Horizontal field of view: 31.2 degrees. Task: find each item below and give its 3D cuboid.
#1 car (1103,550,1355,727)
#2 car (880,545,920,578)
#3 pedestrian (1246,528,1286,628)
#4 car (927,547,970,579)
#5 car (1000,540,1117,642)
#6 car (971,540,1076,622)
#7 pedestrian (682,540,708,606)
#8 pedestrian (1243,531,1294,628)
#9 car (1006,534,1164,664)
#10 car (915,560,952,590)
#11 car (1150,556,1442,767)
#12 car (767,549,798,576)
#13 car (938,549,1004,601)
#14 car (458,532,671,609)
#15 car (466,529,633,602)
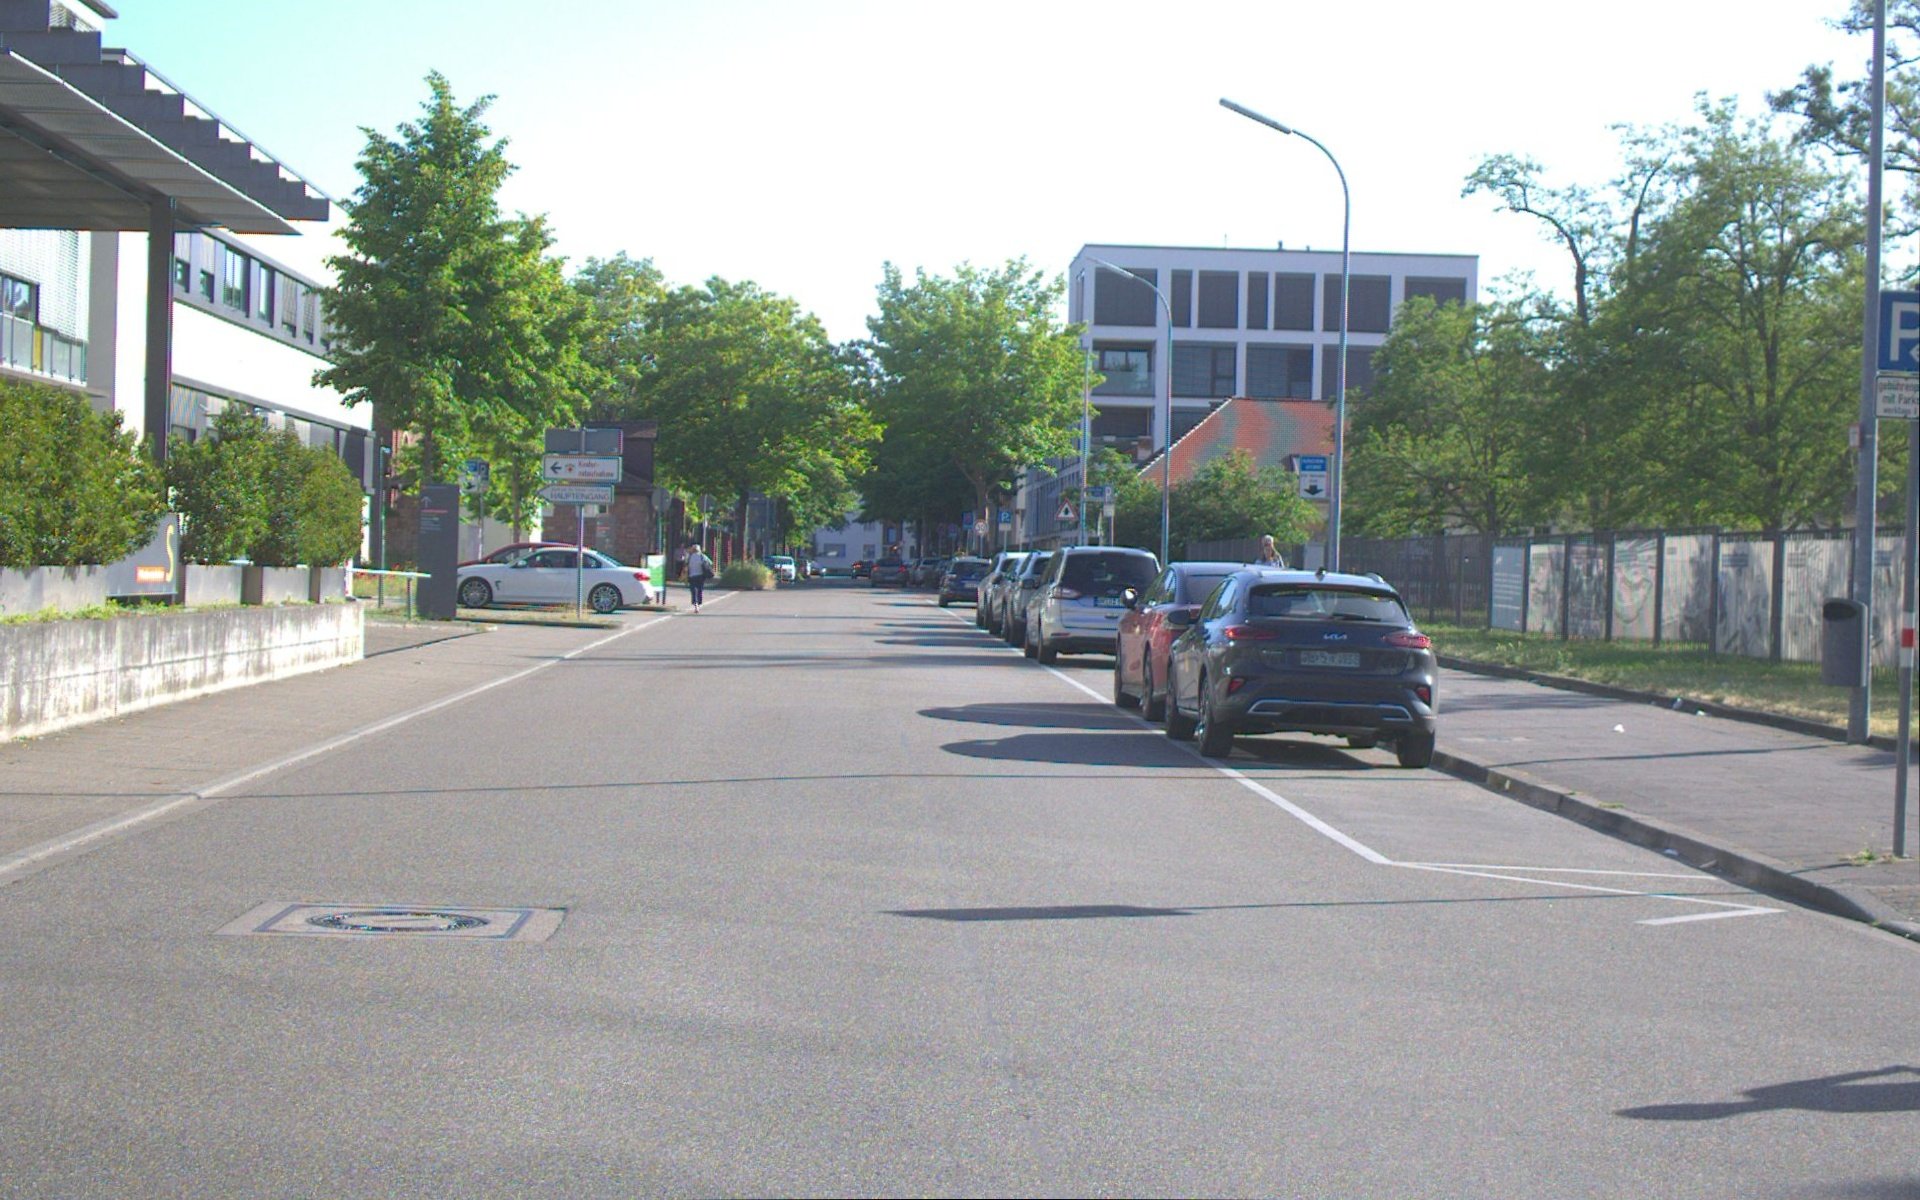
[{"bbox_3d":[2.572,0.321,33.927,1.809,1.505,4.723,3,1,-3],"label":"car"},{"bbox_3d":[-2.942,-1.883,168.407,1.767,1.543,4.066,1,1,-3],"label":"car"},{"bbox_3d":[5.309,-0.379,59.644,0.521,1.702,0.522,3,0,-4],"label":"pedestrian"},{"bbox_3d":[-0.562,-1.756,162.221,1.767,1.435,4.001,1,1,-3],"label":"car"},{"bbox_3d":[1.673,-0.185,59.570,1.700,1.601,4.353,3,1,-2],"label":"car"},{"bbox_3d":[1.329,-0.427,73.140,1.812,1.583,4.263,3,1,-4],"label":"car"},{"bbox_3d":[-6.209,-0.629,80.453,0.538,1.518,0.607,1,1,-1],"label":"pedestrian"},{"bbox_3d":[5.262,-0.345,58.672,0.681,1.606,0.541,3,0,-4],"label":"pedestrian"},{"bbox_3d":[1.770,-0.053,50.156,1.809,1.716,4.705,3,1,-3],"label":"car"},{"bbox_3d":[-1.481,-1.388,191.117,1.950,1.573,3.836,2,1,-1],"label":"car"},{"bbox_3d":[2.660,0.438,28.144,1.700,1.482,4.216,3,1,-3],"label":"car"},{"bbox_3d":[-10.407,-2.205,201.647,1.767,1.482,4.001,1,1,-3],"label":"car"},{"bbox_3d":[0.306,-0.756,100.999,1.817,1.448,4.214,1,1,-1],"label":"car"},{"bbox_3d":[-8.659,-0.645,75.355,4.511,1.362,1.700,4,1,-7],"label":"car"},{"bbox_3d":[-9.327,-0.799,78.307,3.634,1.464,1.614,3,1,-4],"label":"car"}]
